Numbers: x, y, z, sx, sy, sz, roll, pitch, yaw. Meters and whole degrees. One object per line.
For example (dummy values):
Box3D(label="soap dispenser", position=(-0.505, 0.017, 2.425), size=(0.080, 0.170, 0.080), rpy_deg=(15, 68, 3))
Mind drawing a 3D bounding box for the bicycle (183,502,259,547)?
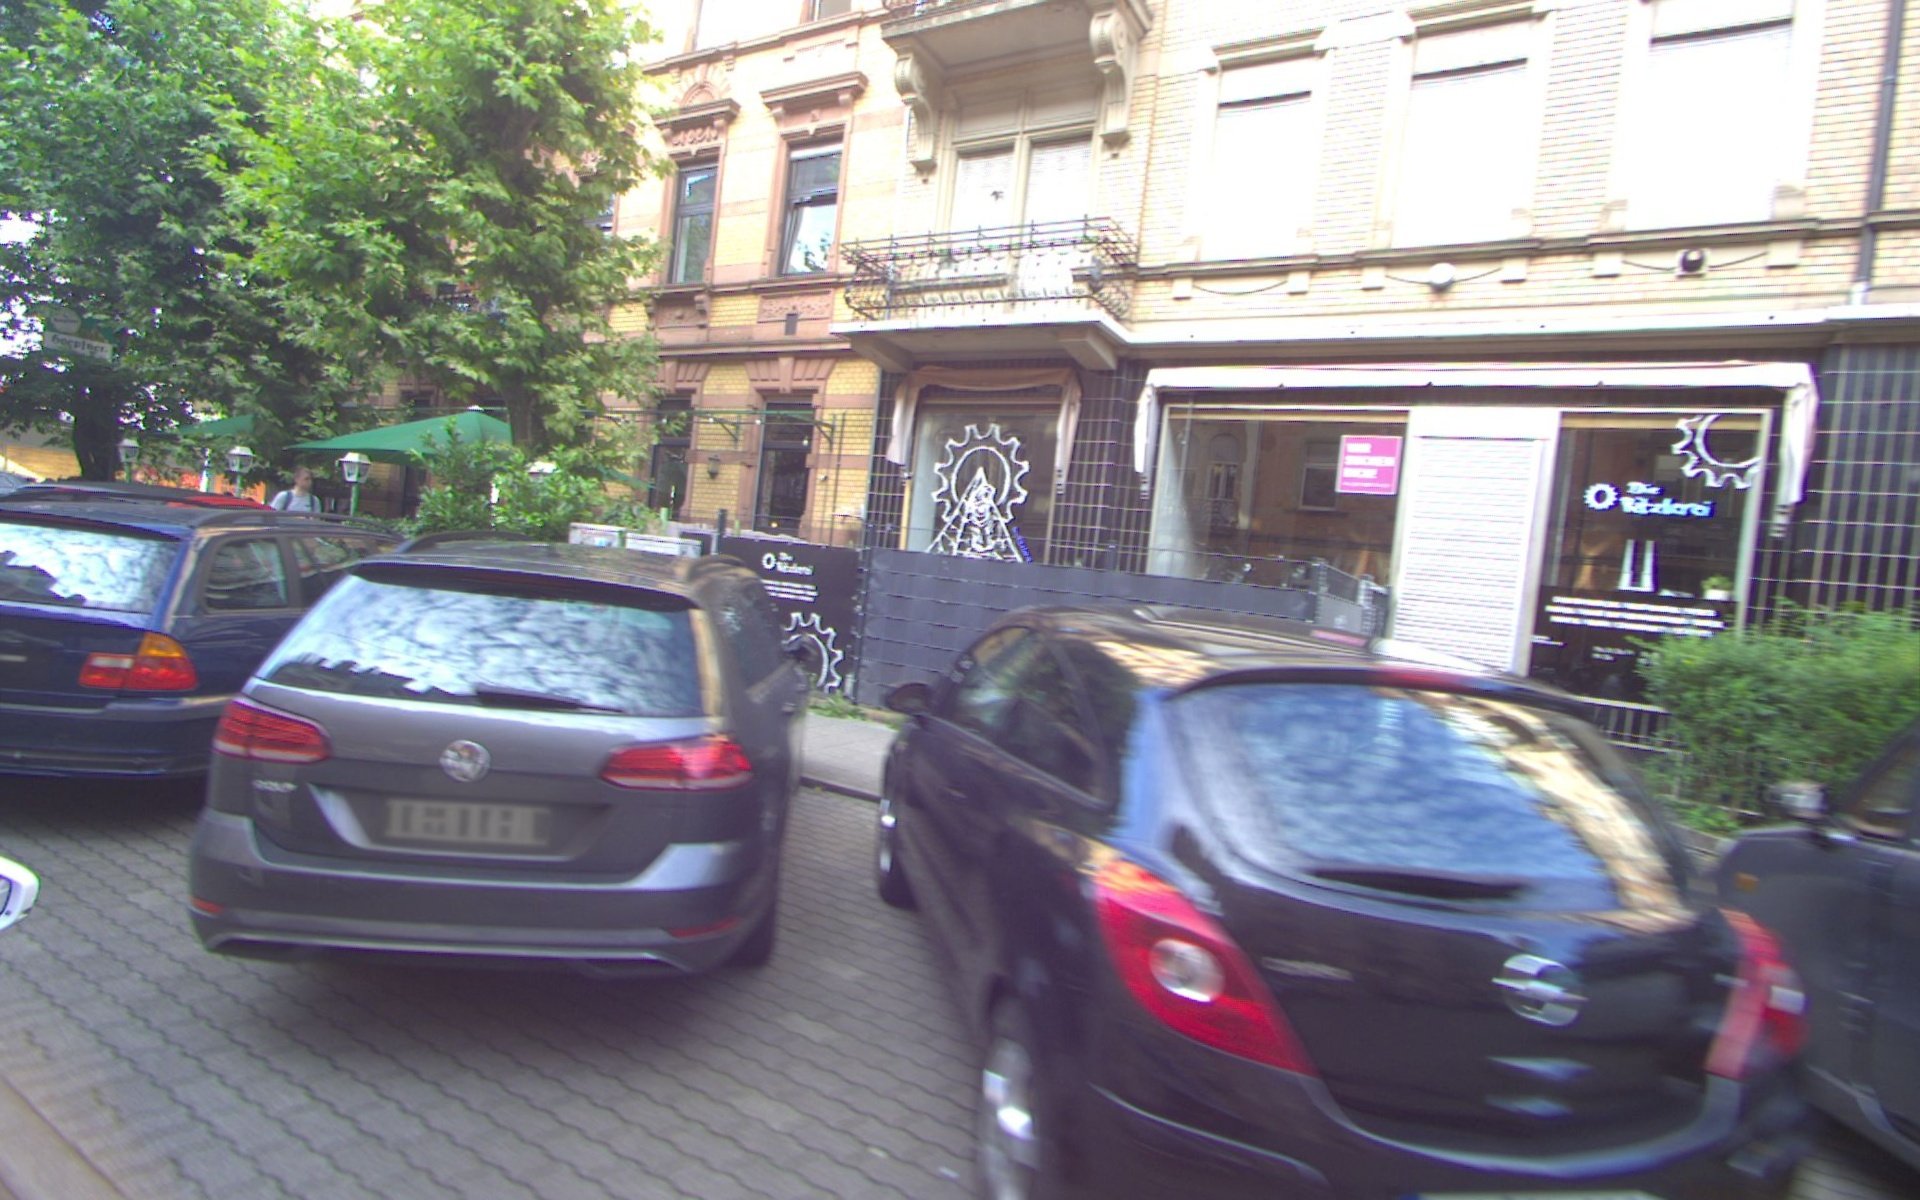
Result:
Box3D(label="bicycle", position=(-24.942, -2.543, 33.979), size=(1.959, 1.215, 0.704), rpy_deg=(6, 1, -39))

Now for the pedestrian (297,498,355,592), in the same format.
Box3D(label="pedestrian", position=(-11.759, -1.011, 18.662), size=(0.554, 1.665, 0.646), rpy_deg=(7, 4, 27))

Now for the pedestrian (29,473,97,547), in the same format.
Box3D(label="pedestrian", position=(-18.988, -1.899, 21.300), size=(0.690, 1.425, 0.798), rpy_deg=(7, 2, 27))

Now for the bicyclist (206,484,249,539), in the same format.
Box3D(label="bicyclist", position=(-24.792, -2.991, 34.056), size=(1.008, 1.690, 0.933), rpy_deg=(5, 2, -40))

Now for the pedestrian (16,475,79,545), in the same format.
Box3D(label="pedestrian", position=(-19.591, -1.922, 21.599), size=(0.586, 1.360, 0.758), rpy_deg=(7, 2, 27))

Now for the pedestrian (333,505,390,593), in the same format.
Box3D(label="pedestrian", position=(-11.447, -0.972, 19.242), size=(0.560, 1.590, 0.629), rpy_deg=(7, 2, 27))

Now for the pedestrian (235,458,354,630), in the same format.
Box3D(label="pedestrian", position=(-7.862, -0.649, 11.892), size=(0.711, 1.902, 0.839), rpy_deg=(8, 2, 35))

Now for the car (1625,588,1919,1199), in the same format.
Box3D(label="car", position=(3.178, 0.940, 2.483), size=(1.321, 1.690, 2.465), rpy_deg=(7, 4, 4))

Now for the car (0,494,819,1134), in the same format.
Box3D(label="car", position=(-1.677, 0.449, 4.732), size=(1.857, 1.497, 4.456), rpy_deg=(6, 3, -9))

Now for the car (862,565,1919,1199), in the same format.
Box3D(label="car", position=(0.739, 0.734, 3.561), size=(1.721, 1.478, 3.984), rpy_deg=(6, 2, -10))

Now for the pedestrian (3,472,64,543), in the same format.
Box3D(label="pedestrian", position=(-20.108, -2.009, 21.840), size=(0.539, 1.410, 0.758), rpy_deg=(7, 2, 27))

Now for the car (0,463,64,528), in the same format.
Box3D(label="car", position=(-29.920, -3.343, 29.733), size=(4.795, 1.748, 2.023), rpy_deg=(6, 3, -33))

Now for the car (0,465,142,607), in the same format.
Box3D(label="car", position=(-11.328, -0.761, 10.154), size=(2.018, 1.476, 4.764), rpy_deg=(7, 2, 3))

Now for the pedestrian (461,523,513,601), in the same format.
Box3D(label="pedestrian", position=(-7.897, -0.625, 16.790), size=(0.553, 1.236, 0.466), rpy_deg=(7, 4, 22))

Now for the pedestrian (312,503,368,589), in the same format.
Box3D(label="pedestrian", position=(-12.229, -1.058, 19.834), size=(0.560, 1.590, 0.629), rpy_deg=(7, 2, 27))

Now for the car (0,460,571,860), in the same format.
Box3D(label="car", position=(-4.120, 0.089, 6.159), size=(1.846, 1.484, 4.461), rpy_deg=(7, 2, -4))

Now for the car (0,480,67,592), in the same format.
Box3D(label="car", position=(-13.910, -0.979, 12.175), size=(1.906, 1.475, 4.415), rpy_deg=(7, 0, 6))

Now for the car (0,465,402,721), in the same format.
Box3D(label="car", position=(-6.261, -0.156, 8.082), size=(1.711, 1.504, 3.712), rpy_deg=(7, 2, -7))

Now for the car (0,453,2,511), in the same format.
Box3D(label="car", position=(-16.060, -1.494, 13.608), size=(1.787, 1.667, 4.351), rpy_deg=(7, 3, 5))
